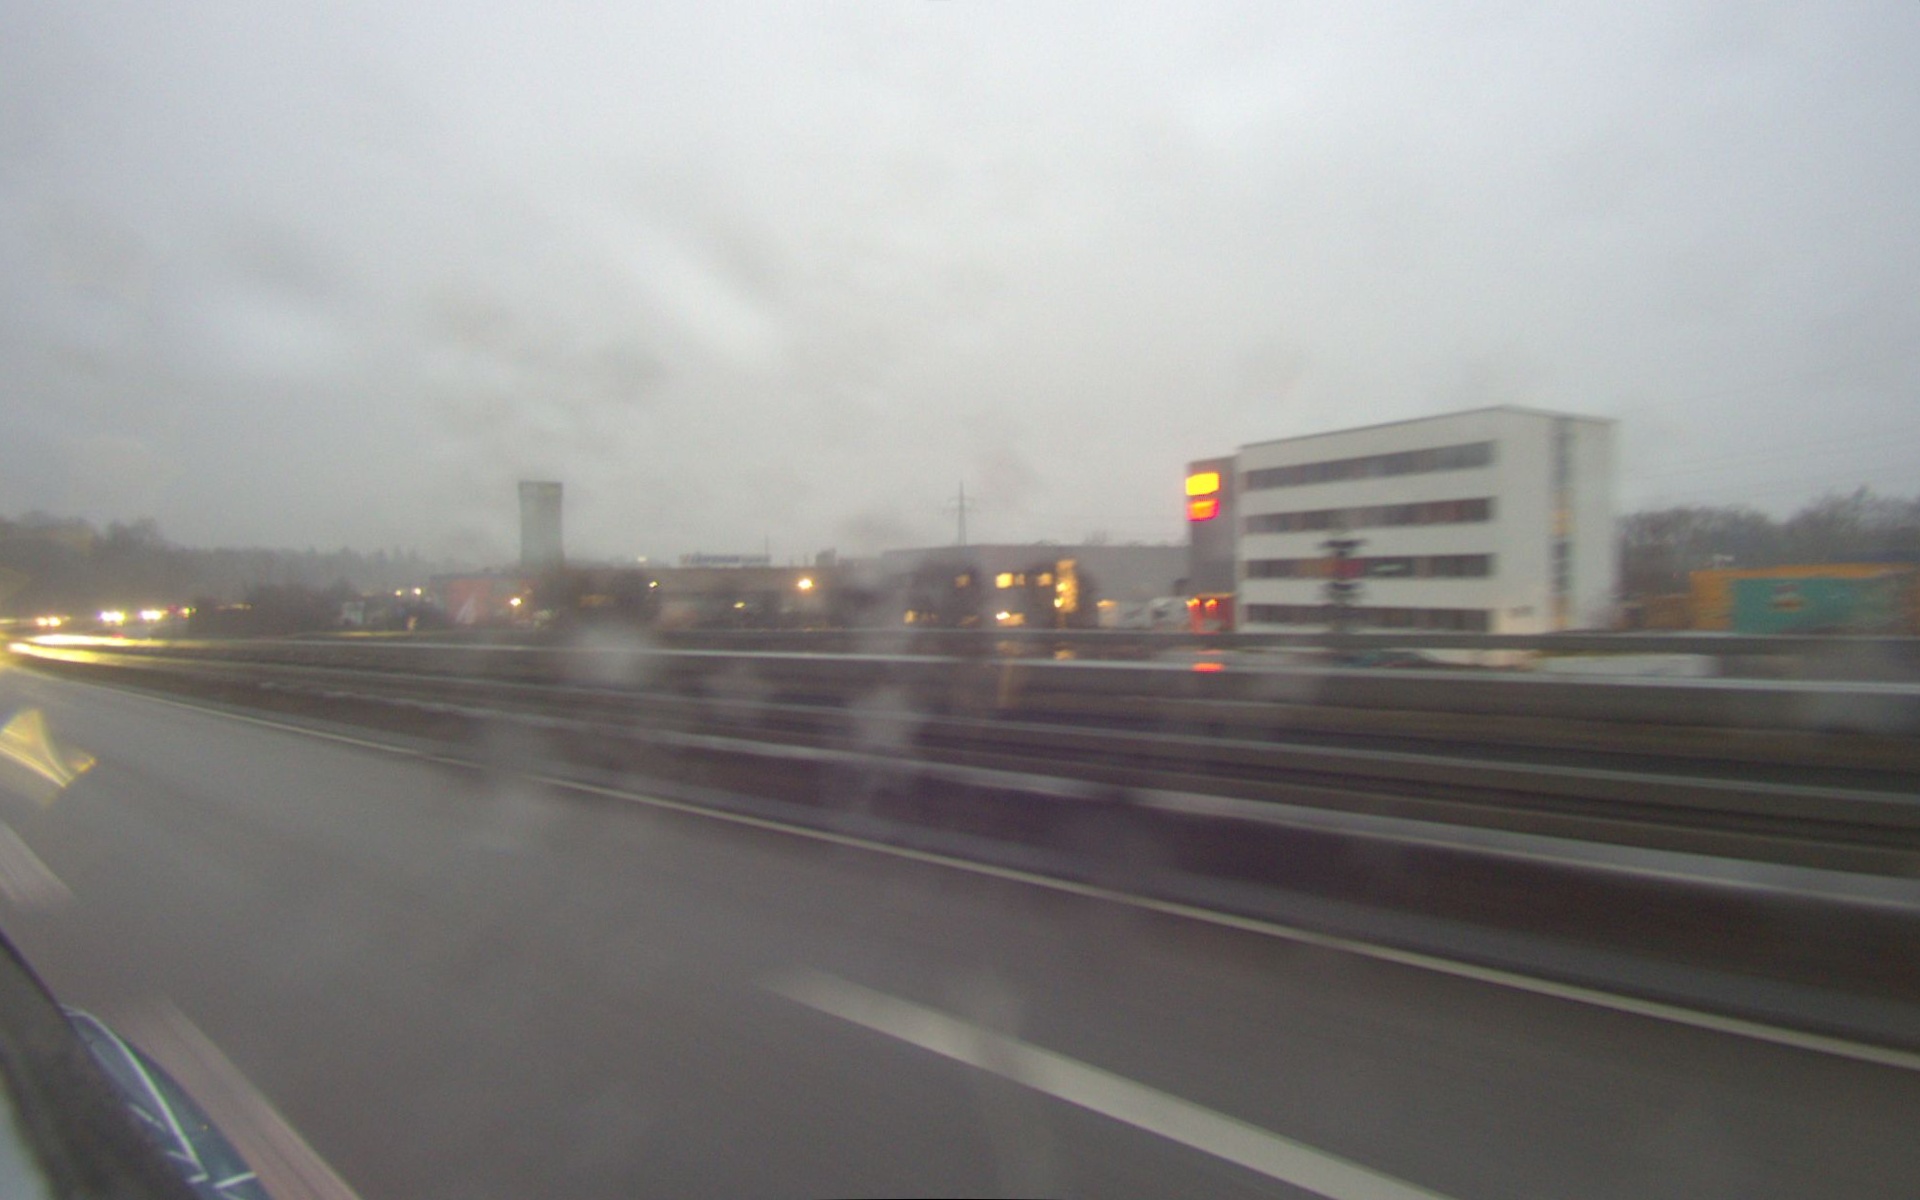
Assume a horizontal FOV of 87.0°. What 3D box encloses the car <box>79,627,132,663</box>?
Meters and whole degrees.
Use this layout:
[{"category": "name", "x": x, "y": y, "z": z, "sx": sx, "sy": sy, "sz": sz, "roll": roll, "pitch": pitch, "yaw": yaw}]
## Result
[{"category": "car", "x": -46.789, "y": 2.424, "z": 55.417, "sx": 1.970, "sy": 1.863, "sz": 3.675, "roll": 0, "pitch": -1, "yaw": -44}]
